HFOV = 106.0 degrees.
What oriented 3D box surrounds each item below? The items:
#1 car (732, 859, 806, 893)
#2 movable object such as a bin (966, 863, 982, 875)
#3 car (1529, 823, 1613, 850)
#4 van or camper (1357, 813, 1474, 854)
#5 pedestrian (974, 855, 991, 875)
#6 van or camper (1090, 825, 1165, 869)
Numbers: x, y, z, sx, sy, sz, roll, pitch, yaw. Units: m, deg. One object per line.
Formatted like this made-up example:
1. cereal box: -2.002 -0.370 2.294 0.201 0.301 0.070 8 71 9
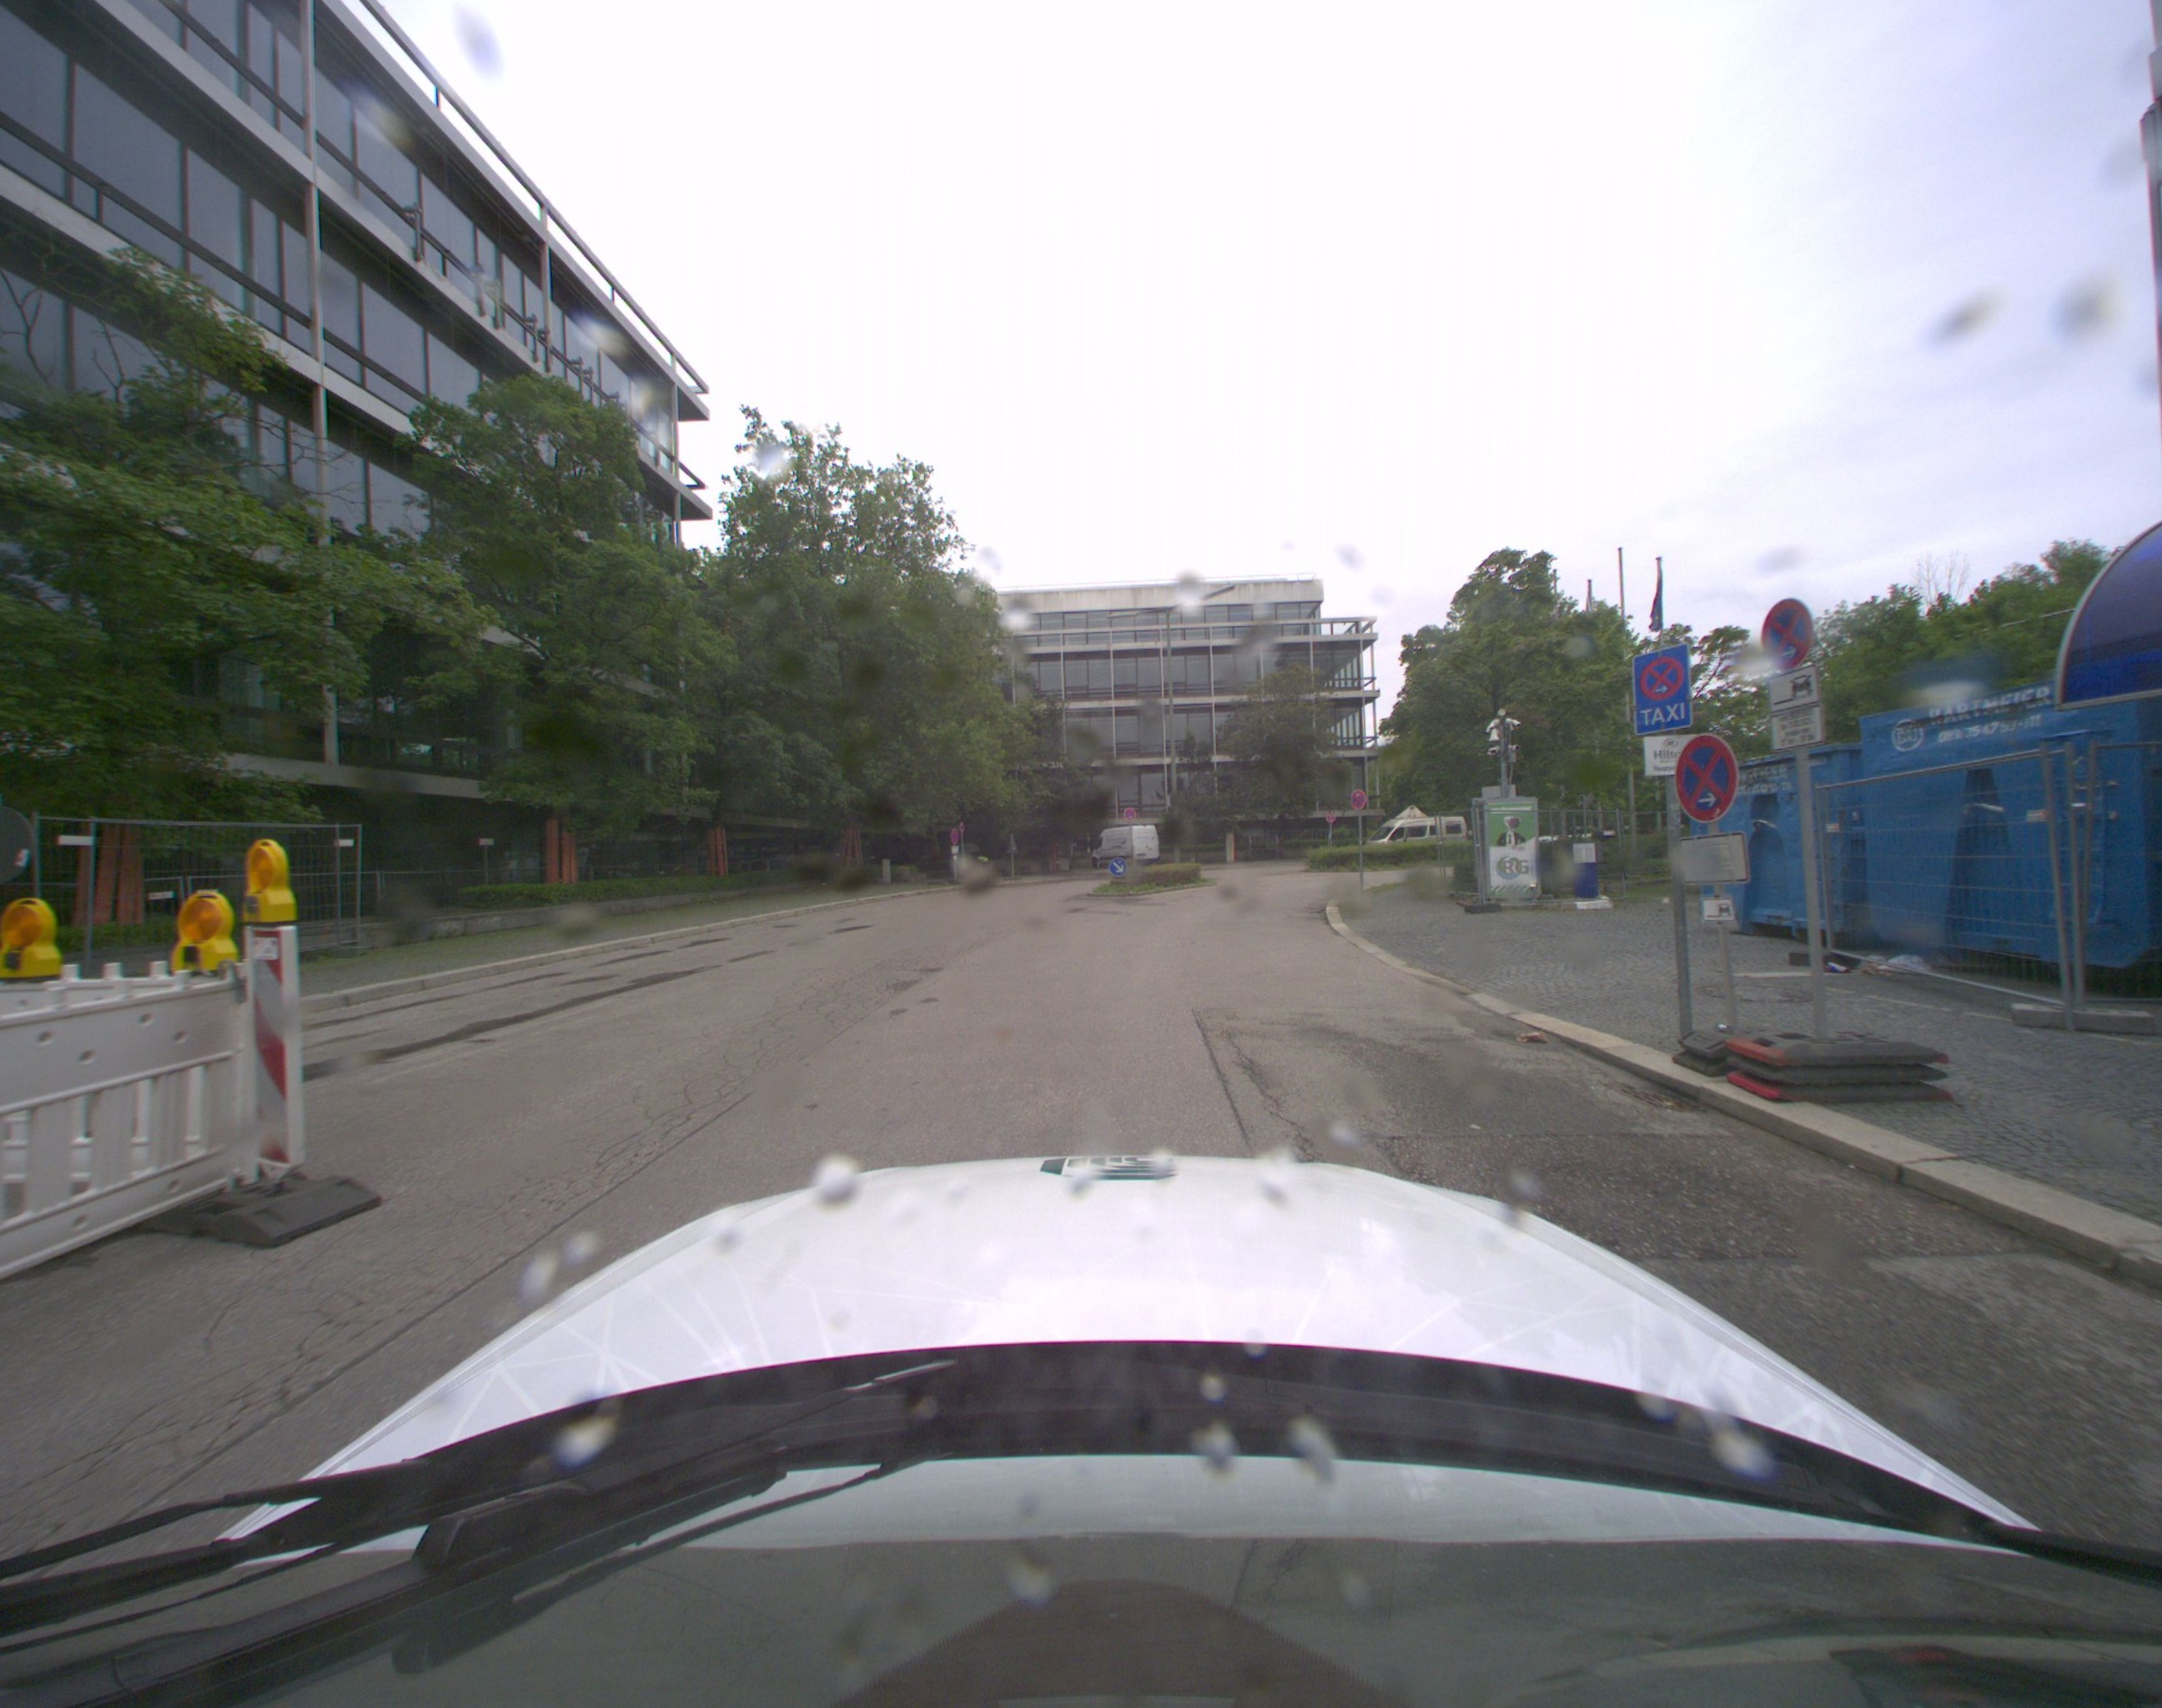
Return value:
1. car: -15.394 1.072 40.385 1.898 1.473 3.865 -2 0 4
2. movable object such as a bin: -6.732 0.954 51.244 0.830 0.753 0.573 -2 0 4
3. car: 30.251 -1.077 50.362 3.970 1.508 2.002 -2 0 3
4. van or camper: 20.364 -1.239 49.643 6.402 2.281 2.246 -2 0 -12
5. pedestrian: -6.174 0.687 51.263 0.922 1.278 0.542 -2 0 4
6. van or camper: 2.940 -0.387 53.142 2.165 2.580 6.487 -2 -1 -23
